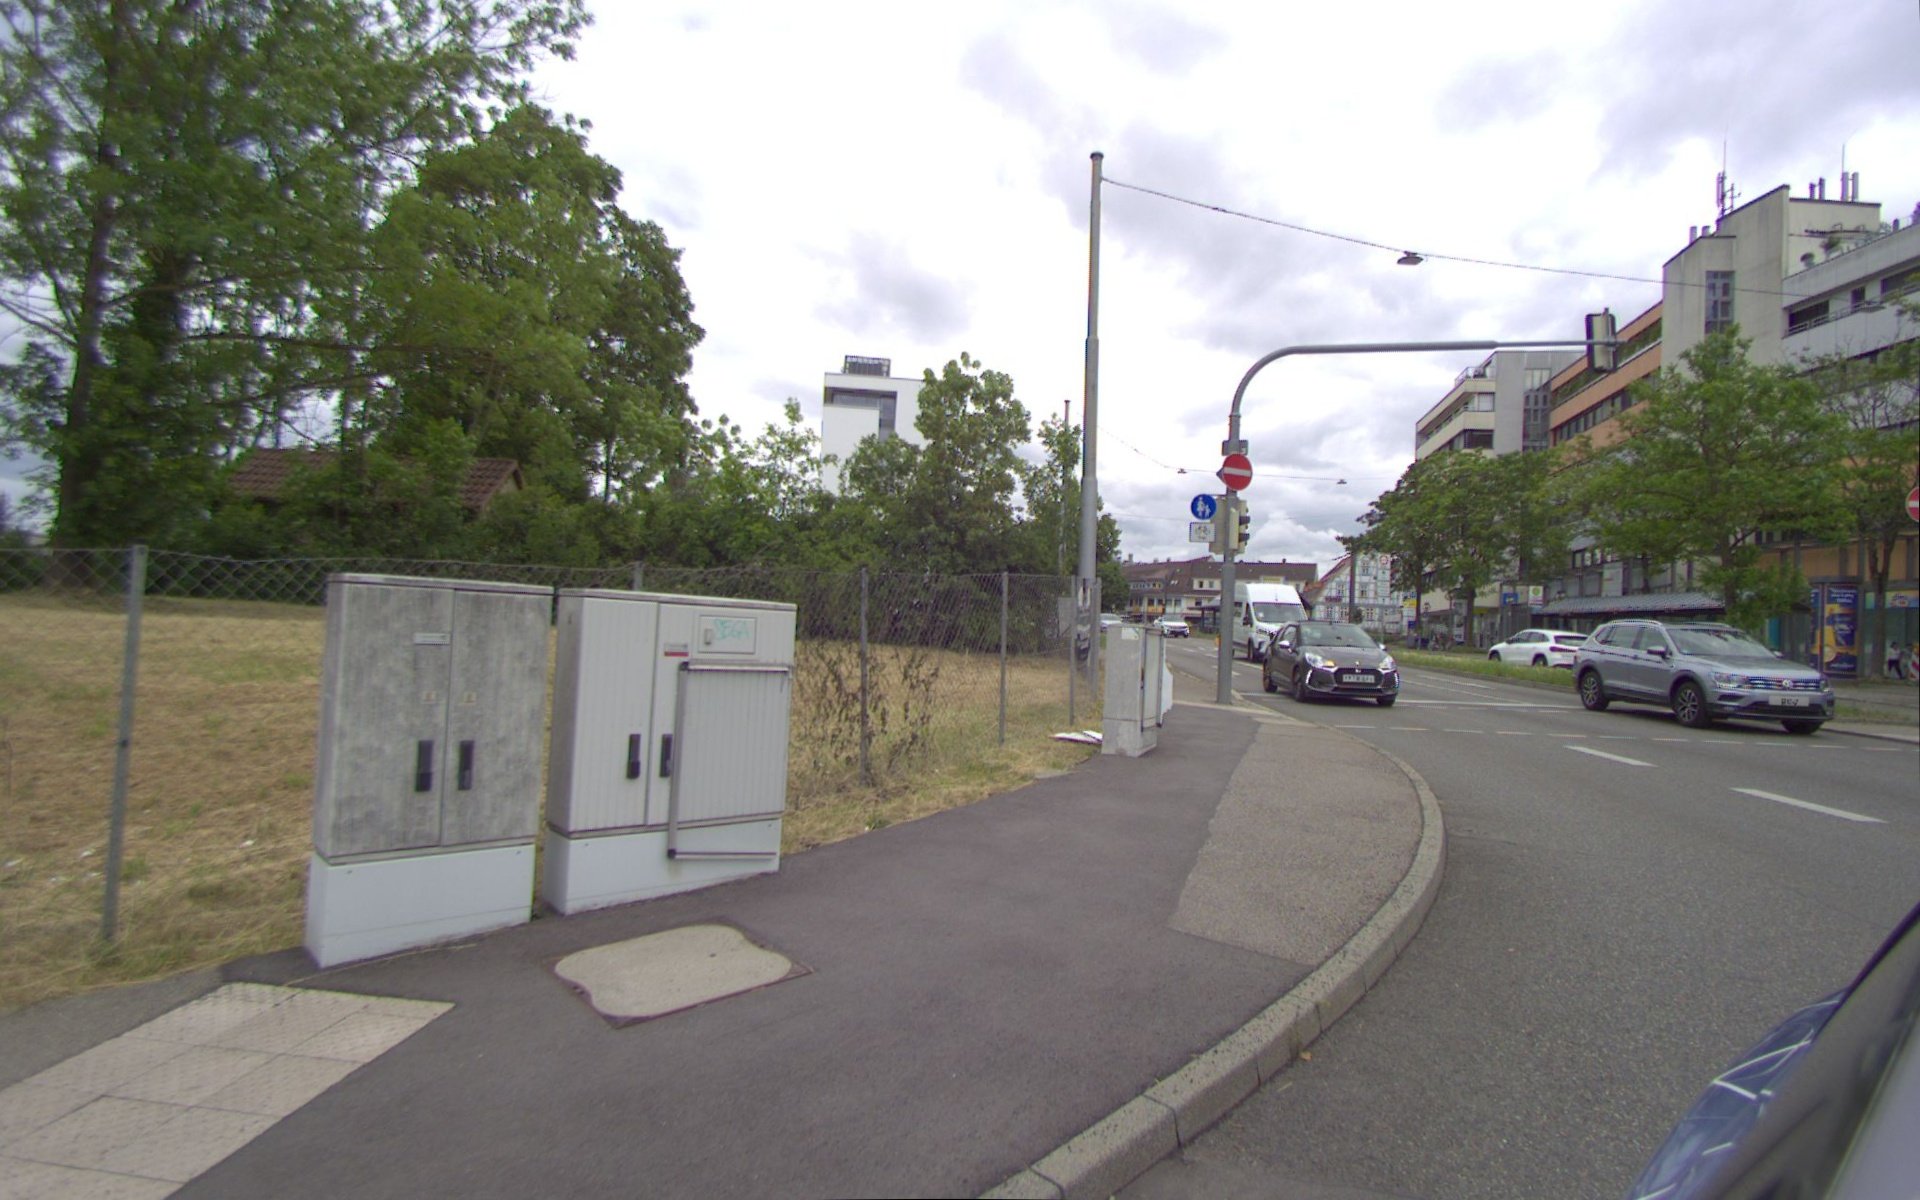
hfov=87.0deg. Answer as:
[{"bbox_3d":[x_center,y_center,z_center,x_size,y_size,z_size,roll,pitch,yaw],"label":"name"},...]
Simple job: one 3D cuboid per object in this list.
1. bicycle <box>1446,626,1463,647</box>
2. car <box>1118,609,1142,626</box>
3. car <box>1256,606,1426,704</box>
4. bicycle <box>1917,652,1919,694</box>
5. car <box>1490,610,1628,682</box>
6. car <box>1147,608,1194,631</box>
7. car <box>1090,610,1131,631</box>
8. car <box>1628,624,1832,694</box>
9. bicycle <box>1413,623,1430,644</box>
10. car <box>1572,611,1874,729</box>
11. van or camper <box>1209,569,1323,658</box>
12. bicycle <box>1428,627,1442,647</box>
[{"bbox_3d":[31.783,2.349,64.992,0.623,1.269,1.660,2,-1,37],"label":"bicycle"},{"bbox_3d":[17.678,1.829,105.516,1.965,1.594,4.510,3,0,5],"label":"car"},{"bbox_3d":[7.004,0.978,19.062,1.831,1.544,3.995,3,-1,4],"label":"car"},{"bbox_3d":[30.095,2.248,30.074,1.035,1.287,2.424,1,0,1],"label":"bicycle"},{"bbox_3d":[19.000,1.395,32.359,1.964,2.039,4.176,3,0,3],"label":"car"},{"bbox_3d":[14.390,1.323,69.338,1.960,1.393,4.005,3,0,-6],"label":"car"},{"bbox_3d":[11.235,1.493,75.888,1.959,1.393,4.005,3,0,-7],"label":"car"},{"bbox_3d":[22.016,1.623,29.273,1.738,1.605,5.268,4,0,0],"label":"car"},{"bbox_3d":[30.058,2.189,65.971,0.623,1.269,1.660,2,-1,37],"label":"bicycle"},{"bbox_3d":[12.367,1.046,16.861,1.965,1.671,4.386,0,-1,5],"label":"car"},{"bbox_3d":[10.698,0.514,36.041,2.241,2.741,6.985,3,-1,4],"label":"van or camper"},{"bbox_3d":[31.506,2.444,67.075,0.430,1.269,1.449,2,-1,40],"label":"bicycle"}]
